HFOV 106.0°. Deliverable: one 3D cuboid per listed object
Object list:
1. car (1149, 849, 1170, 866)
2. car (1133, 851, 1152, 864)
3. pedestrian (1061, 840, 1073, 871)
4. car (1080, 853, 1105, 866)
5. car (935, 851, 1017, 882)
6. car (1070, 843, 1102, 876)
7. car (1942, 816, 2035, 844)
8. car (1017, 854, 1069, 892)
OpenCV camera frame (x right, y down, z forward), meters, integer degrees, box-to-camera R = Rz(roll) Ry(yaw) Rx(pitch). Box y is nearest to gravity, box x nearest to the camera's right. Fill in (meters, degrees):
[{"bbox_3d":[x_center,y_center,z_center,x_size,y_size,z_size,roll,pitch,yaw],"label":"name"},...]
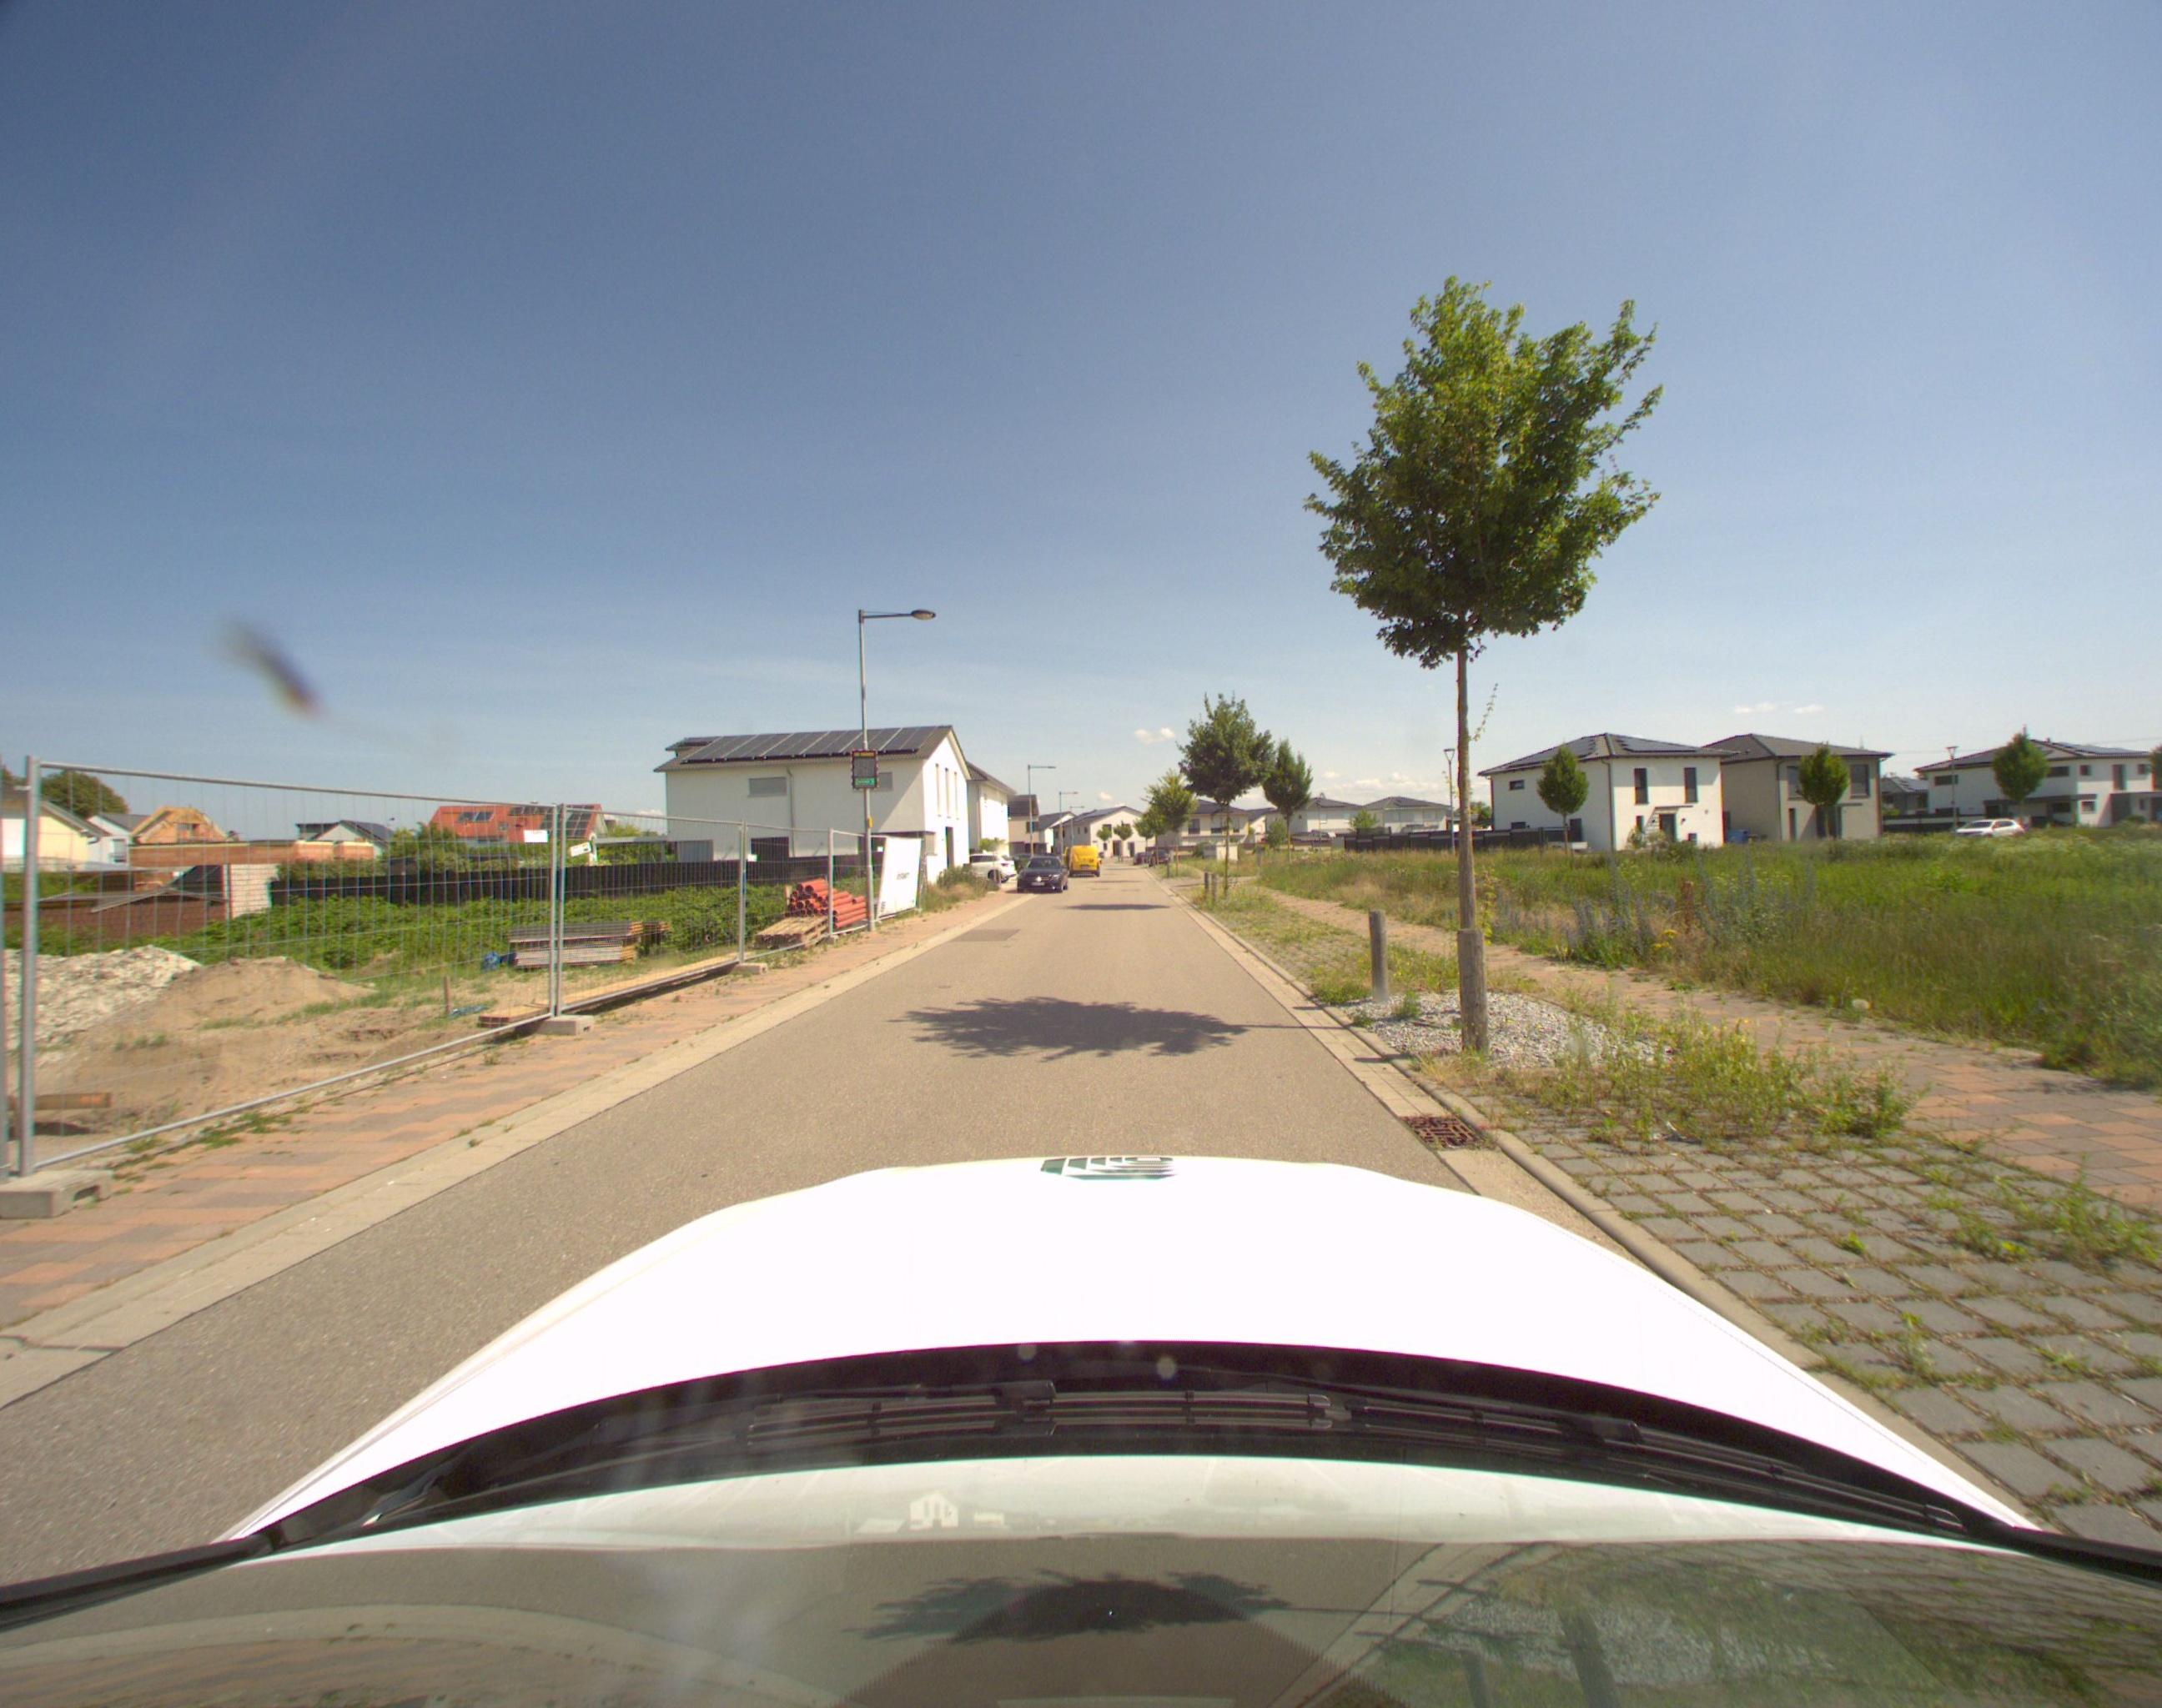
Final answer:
[{"bbox_3d":[7.065,0.357,73.276,1.633,1.403,3.812,-2,-1,2],"label":"car"},{"bbox_3d":[6.930,0.369,91.933,1.624,1.322,3.828,-2,-2,-3],"label":"car"},{"bbox_3d":[-0.955,0.095,54.240,0.649,2.014,1.124,-2,-1,3],"label":"pedestrian"},{"bbox_3d":[1.373,0.734,102.368,1.996,1.431,4.678,-2,-1,-14],"label":"car"},{"bbox_3d":[-5.640,0.688,44.088,4.045,1.581,1.789,-1,1,8],"label":"car"},{"bbox_3d":[0.286,0.380,53.478,1.935,1.981,4.215,-2,-1,-1],"label":"car"},{"bbox_3d":[52.175,-1.369,46.836,3.988,1.398,1.744,-2,-1,-11],"label":"car"},{"bbox_3d":[-1.491,0.738,33.559,1.738,1.405,4.163,0,0,3],"label":"car"}]
